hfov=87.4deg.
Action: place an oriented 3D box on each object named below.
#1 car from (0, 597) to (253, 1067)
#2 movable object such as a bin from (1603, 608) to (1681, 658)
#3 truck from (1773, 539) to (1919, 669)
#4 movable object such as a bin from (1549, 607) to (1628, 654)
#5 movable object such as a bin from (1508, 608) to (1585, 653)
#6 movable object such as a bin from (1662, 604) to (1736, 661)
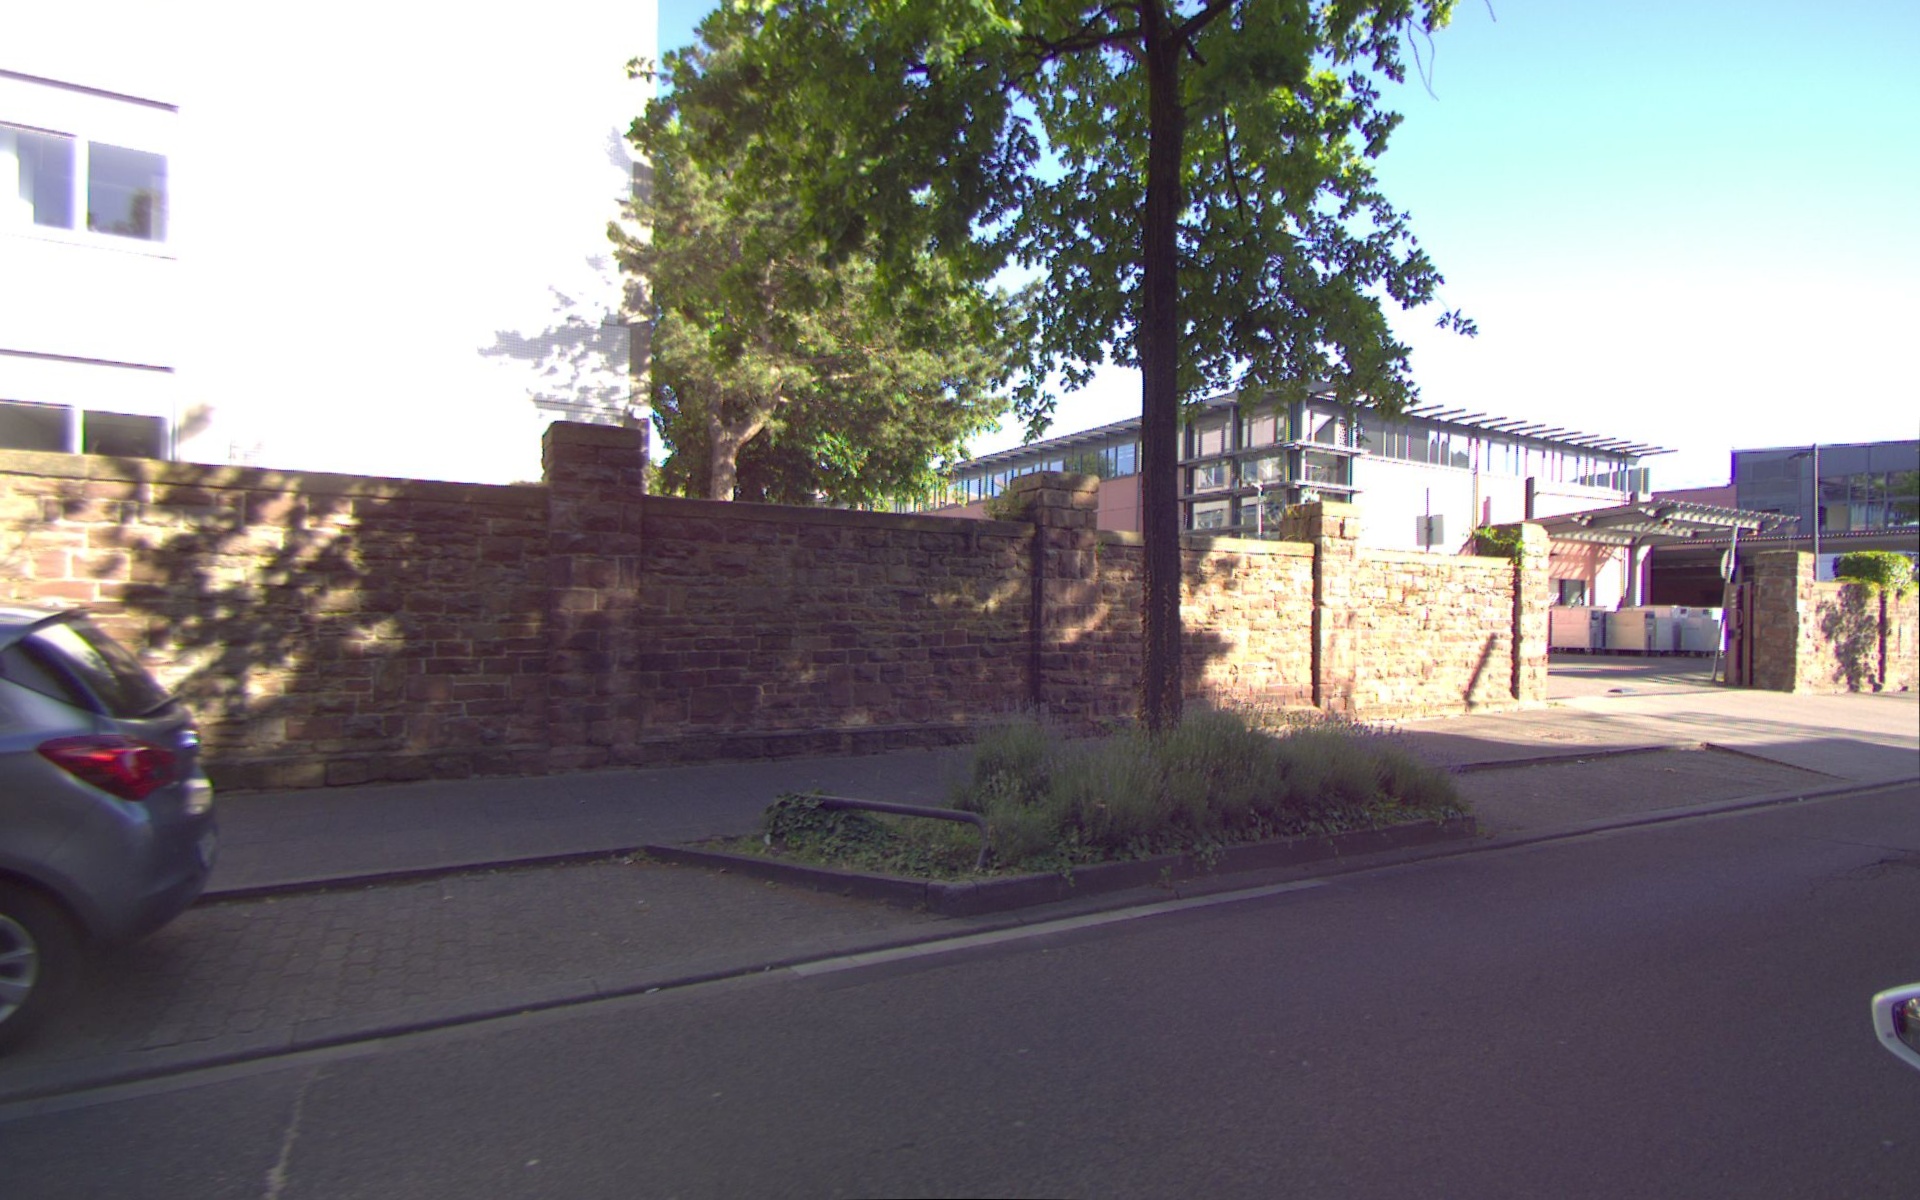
[{"bbox_3d":[-4.563,0.708,3.117,3.799,1.441,1.676,1,1,-34],"label":"car"},{"bbox_3d":[23.559,1.118,34.687,2.526,1.619,1.318,1,1,-32],"label":"movable object such as a bin"},{"bbox_3d":[29.393,0.160,32.158,7.341,3.761,2.719,1,1,-30],"label":"truck"},{"bbox_3d":[22.286,1.066,35.595,2.526,1.559,1.400,1,1,-32],"label":"movable object such as a bin"},{"bbox_3d":[21.509,1.107,36.845,2.526,1.559,1.400,1,1,-32],"label":"movable object such as a bin"},{"bbox_3d":[26.039,1.140,35.387,2.410,1.889,1.186,1,1,-30],"label":"movable object such as a bin"}]
